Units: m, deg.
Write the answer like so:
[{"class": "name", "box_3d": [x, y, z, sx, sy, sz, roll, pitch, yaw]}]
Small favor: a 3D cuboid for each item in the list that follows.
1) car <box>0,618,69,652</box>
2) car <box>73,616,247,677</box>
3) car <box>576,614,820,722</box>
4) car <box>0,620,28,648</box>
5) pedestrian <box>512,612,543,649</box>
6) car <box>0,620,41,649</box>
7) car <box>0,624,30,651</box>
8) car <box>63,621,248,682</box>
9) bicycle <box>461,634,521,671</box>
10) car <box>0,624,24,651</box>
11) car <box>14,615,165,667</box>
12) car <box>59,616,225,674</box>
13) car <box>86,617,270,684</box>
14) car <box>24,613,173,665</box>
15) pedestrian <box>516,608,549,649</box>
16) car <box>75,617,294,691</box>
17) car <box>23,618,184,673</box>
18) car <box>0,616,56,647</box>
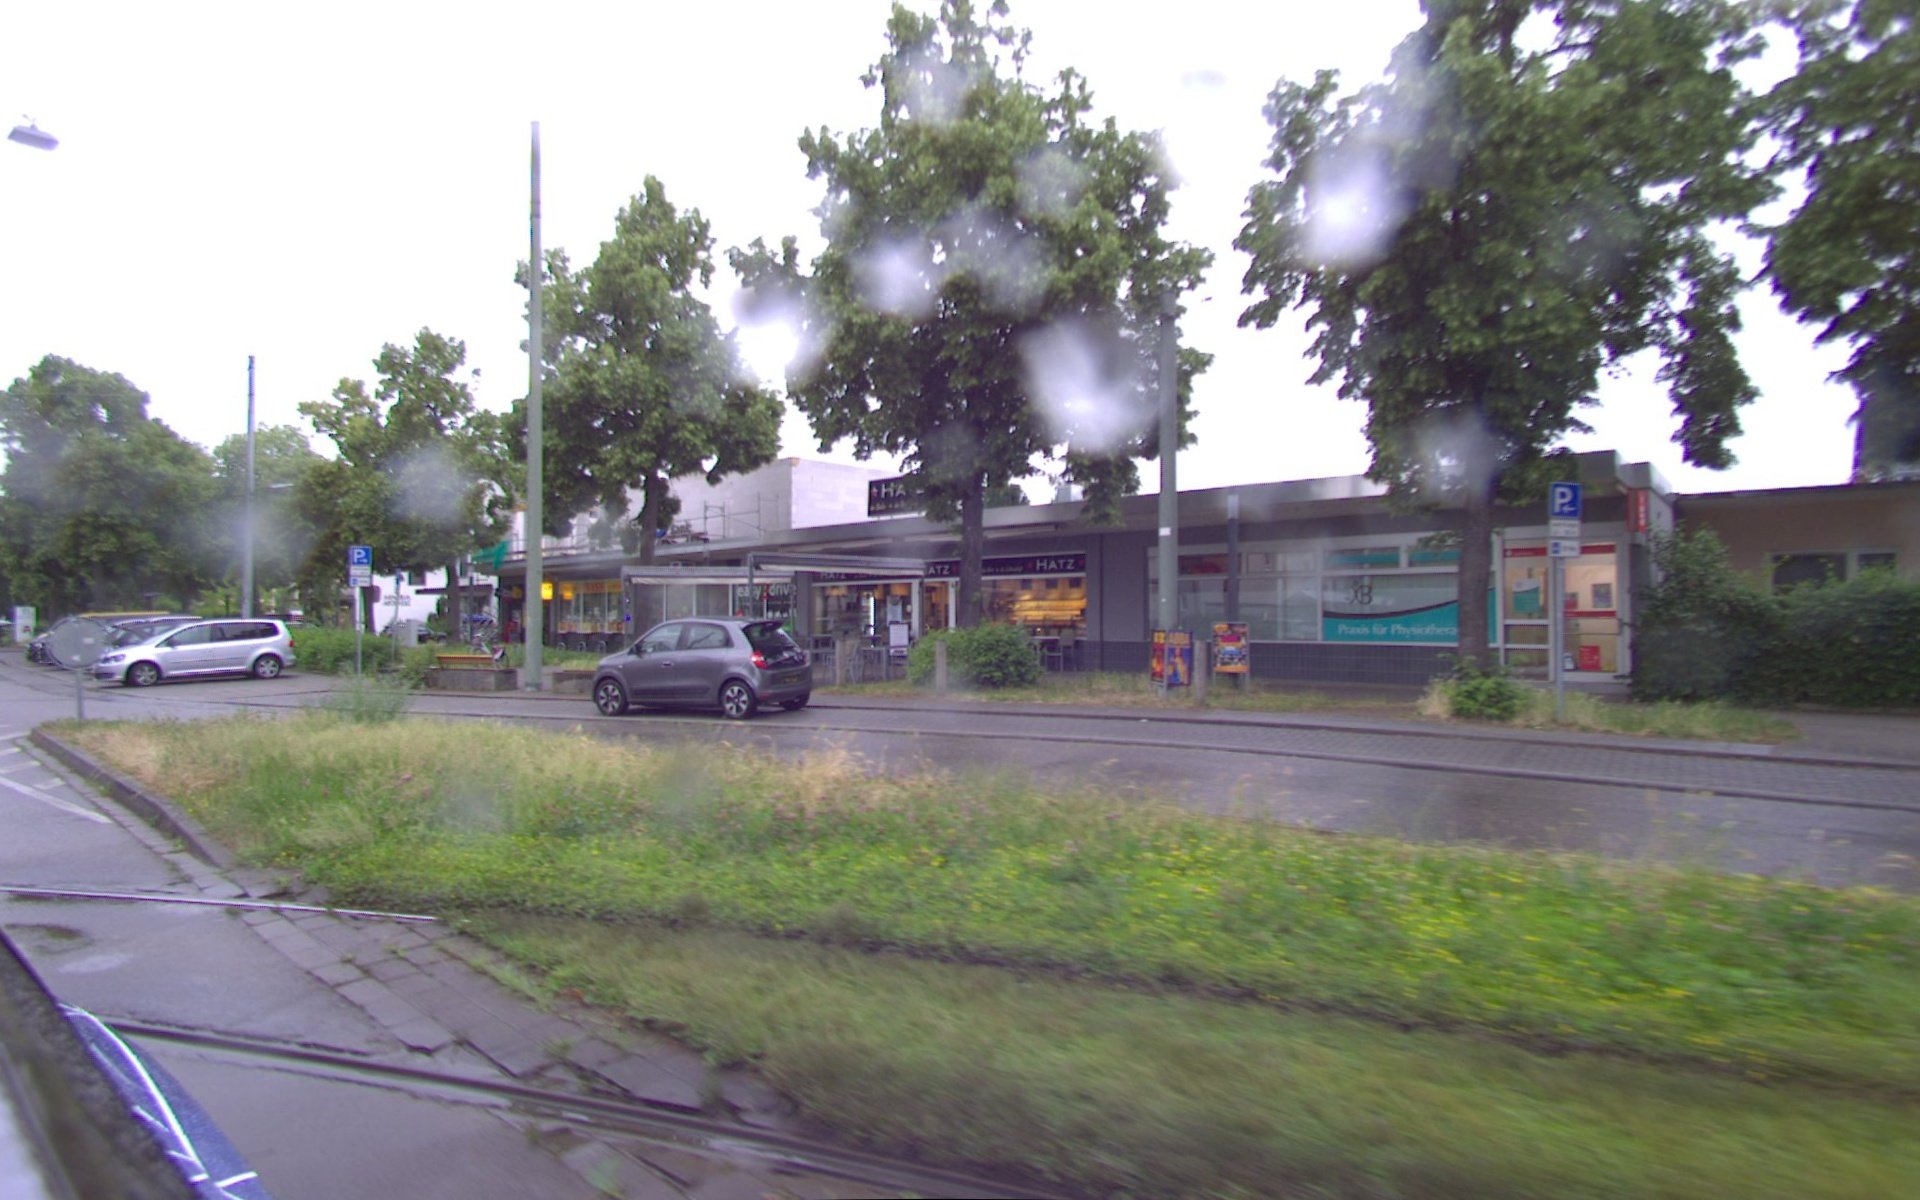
[{"class": "car", "box_3d": [-58.692, 2.189, 63.085, 1.898, 1.958, 4.488, -2, -1, 41]}, {"class": "car", "box_3d": [-25.313, 1.418, 32.121, 1.898, 1.722, 4.036, -2, -1, 41]}, {"class": "car", "box_3d": [-4.180, 1.041, 16.112, 3.602, 1.515, 1.539, -1, 0, 25]}, {"class": "car", "box_3d": [-69.153, 2.452, 71.660, 1.898, 1.958, 4.488, -2, -1, 41]}, {"class": "pedestrian", "box_3d": [-18.966, 1.306, 44.359, 1.063, 1.596, 0.950, 1, -1, -37]}, {"class": "car", "box_3d": [-66.569, 2.389, 69.805, 1.898, 1.958, 4.488, -2, -1, 41]}, {"class": "car", "box_3d": [-72.029, 2.830, 74.908, 1.898, 1.958, 4.487, -2, -1, 41]}, {"class": "car", "box_3d": [-23.922, 1.484, 30.204, 1.999, 1.583, 4.036, -2, -1, 41]}, {"class": "bicycle", "box_3d": [-13.782, 1.527, 29.730, 1.740, 1.080, 0.589, -1, -2, 25]}, {"class": "car", "box_3d": [-74.036, 2.880, 76.575, 1.898, 1.958, 4.488, -2, -1, 41]}, {"class": "car", "box_3d": [-33.803, 1.543, 39.383, 1.898, 1.823, 4.247, -2, -1, 41]}, {"class": "car", "box_3d": [-27.160, 1.458, 33.691, 1.898, 1.722, 4.036, -2, -1, 41]}, {"class": "car", "box_3d": [-22.211, 1.394, 28.846, 1.793, 1.686, 3.894, -2, -1, 41]}, {"class": "car", "box_3d": [-35.703, 1.561, 42.031, 1.898, 1.958, 4.488, -2, -1, 41]}, {"class": "pedestrian", "box_3d": [-18.306, 1.191, 43.325, 1.063, 1.727, 0.950, 1, -1, -37]}, {"class": "car", "box_3d": [-20.379, 1.354, 26.741, 1.999, 1.686, 4.279, -2, -1, 41]}, {"class": "car", "box_3d": [-29.788, 1.530, 35.272, 1.898, 1.722, 4.036, -2, -1, 41]}, {"class": "car", "box_3d": [-62.110, 2.082, 66.010, 1.898, 1.958, 4.488, -2, -1, 41]}]
